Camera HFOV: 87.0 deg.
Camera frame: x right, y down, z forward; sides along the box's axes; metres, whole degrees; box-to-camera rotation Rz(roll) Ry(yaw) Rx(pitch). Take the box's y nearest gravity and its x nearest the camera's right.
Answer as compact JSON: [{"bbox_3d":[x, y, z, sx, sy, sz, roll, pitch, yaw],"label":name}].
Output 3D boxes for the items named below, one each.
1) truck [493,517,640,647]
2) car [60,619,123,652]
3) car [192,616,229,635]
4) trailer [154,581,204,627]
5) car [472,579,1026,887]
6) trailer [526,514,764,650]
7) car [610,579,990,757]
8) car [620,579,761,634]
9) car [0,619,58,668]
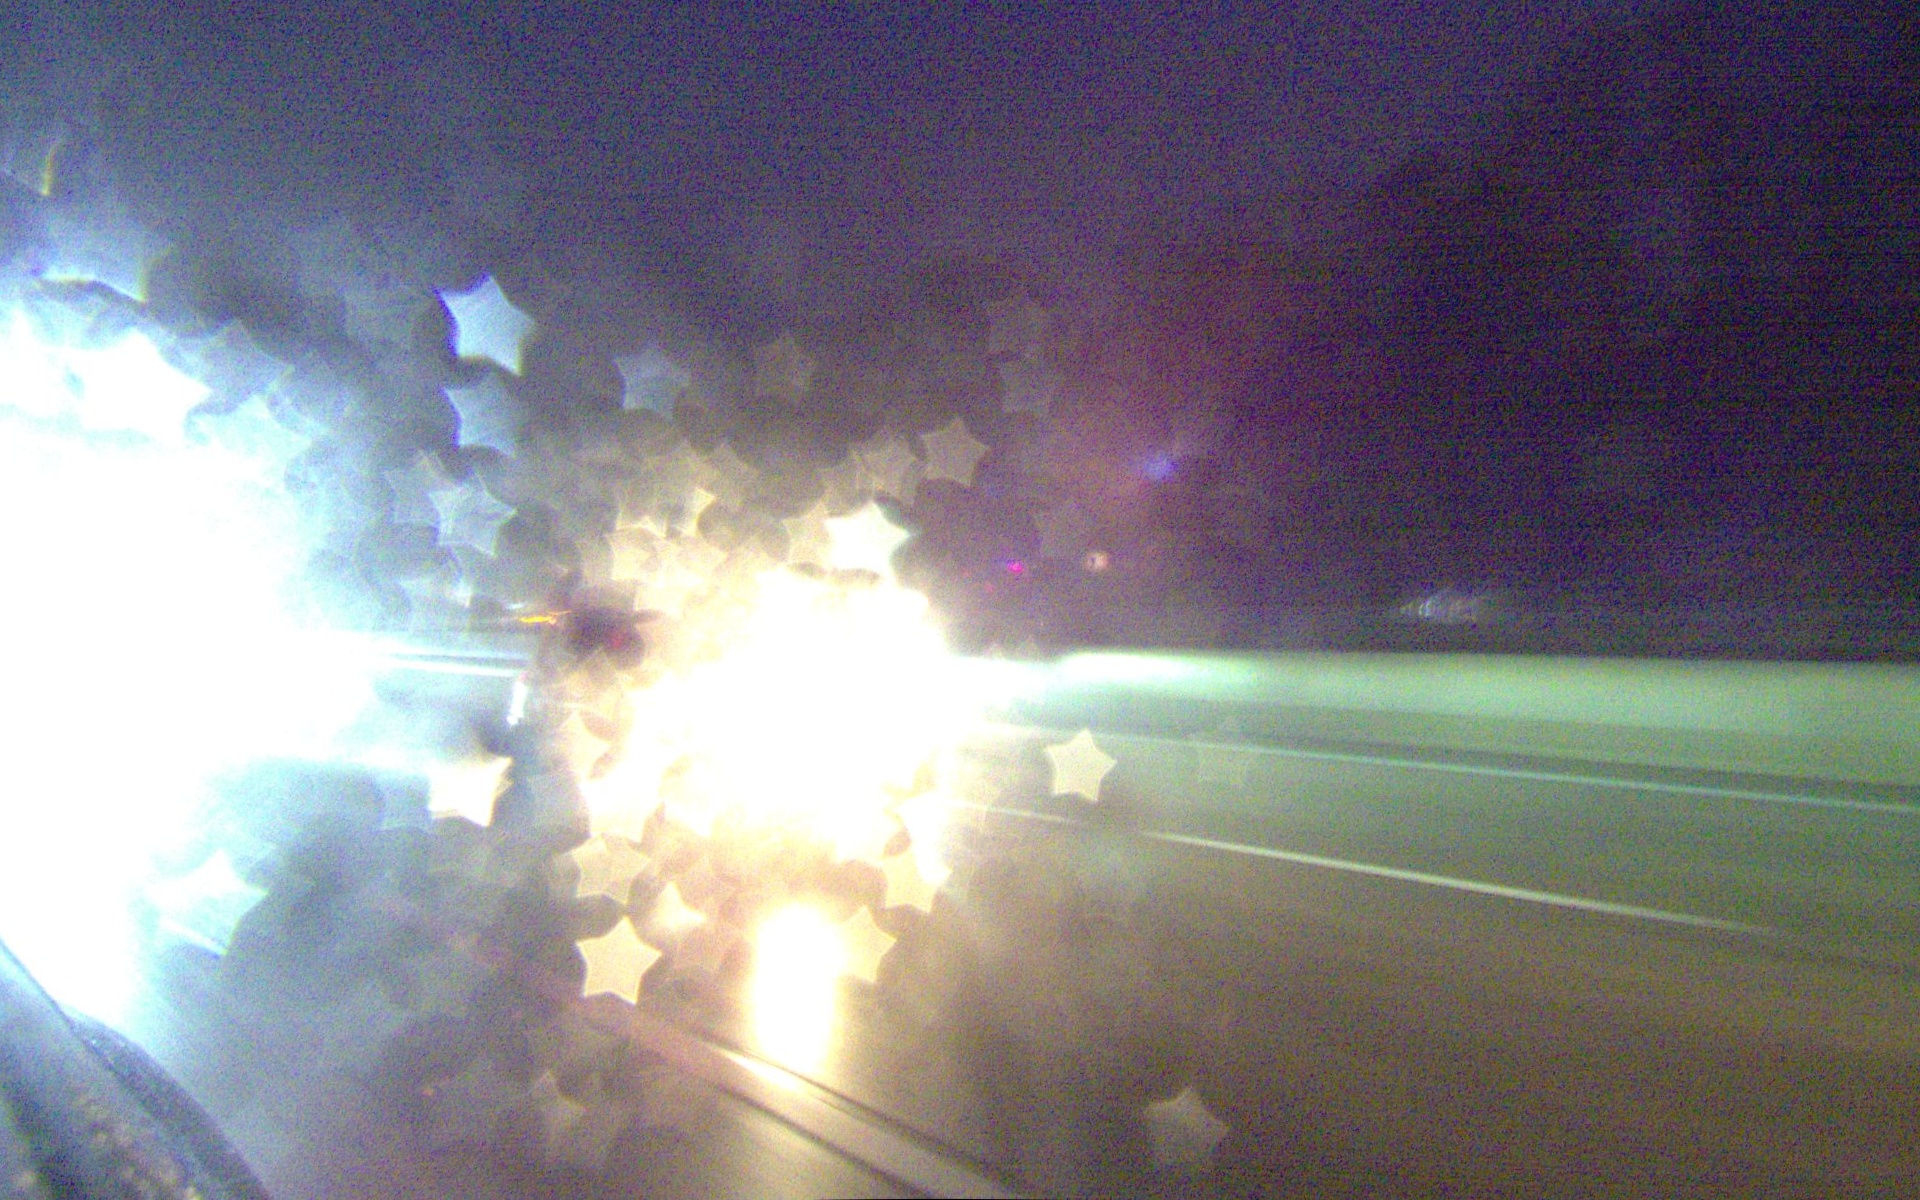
[{"bbox_3d":[-20.262,-0.861,51.900,7.344,6.174,4.123,-1,1,43],"label":"truck"},{"bbox_3d":[-47.355,1.904,55.186,3.873,1.621,2.279,-1,1,45],"label":"car"},{"bbox_3d":[-70.918,2.406,95.770,4.253,1.655,1.972,-1,1,42],"label":"car"},{"bbox_3d":[-114.105,0.611,147.709,14.413,6.172,3.425,-1,4,45],"label":"trailer"},{"bbox_3d":[-1.755,0.704,7.427,4.234,1.606,1.895,-1,0,43],"label":"car"},{"bbox_3d":[-15.023,-0.681,47.074,13.745,5.485,4.123,-1,1,43],"label":"trailer"},{"bbox_3d":[-2.148,0.703,12.579,4.884,1.790,1.973,-1,1,41],"label":"car"},{"bbox_3d":[-8.376,0.211,31.140,5.016,1.491,1.689,-1,2,42],"label":"car"},{"bbox_3d":[-35.378,1.593,38.029,1.971,1.689,4.002,-2,1,-45],"label":"car"}]
